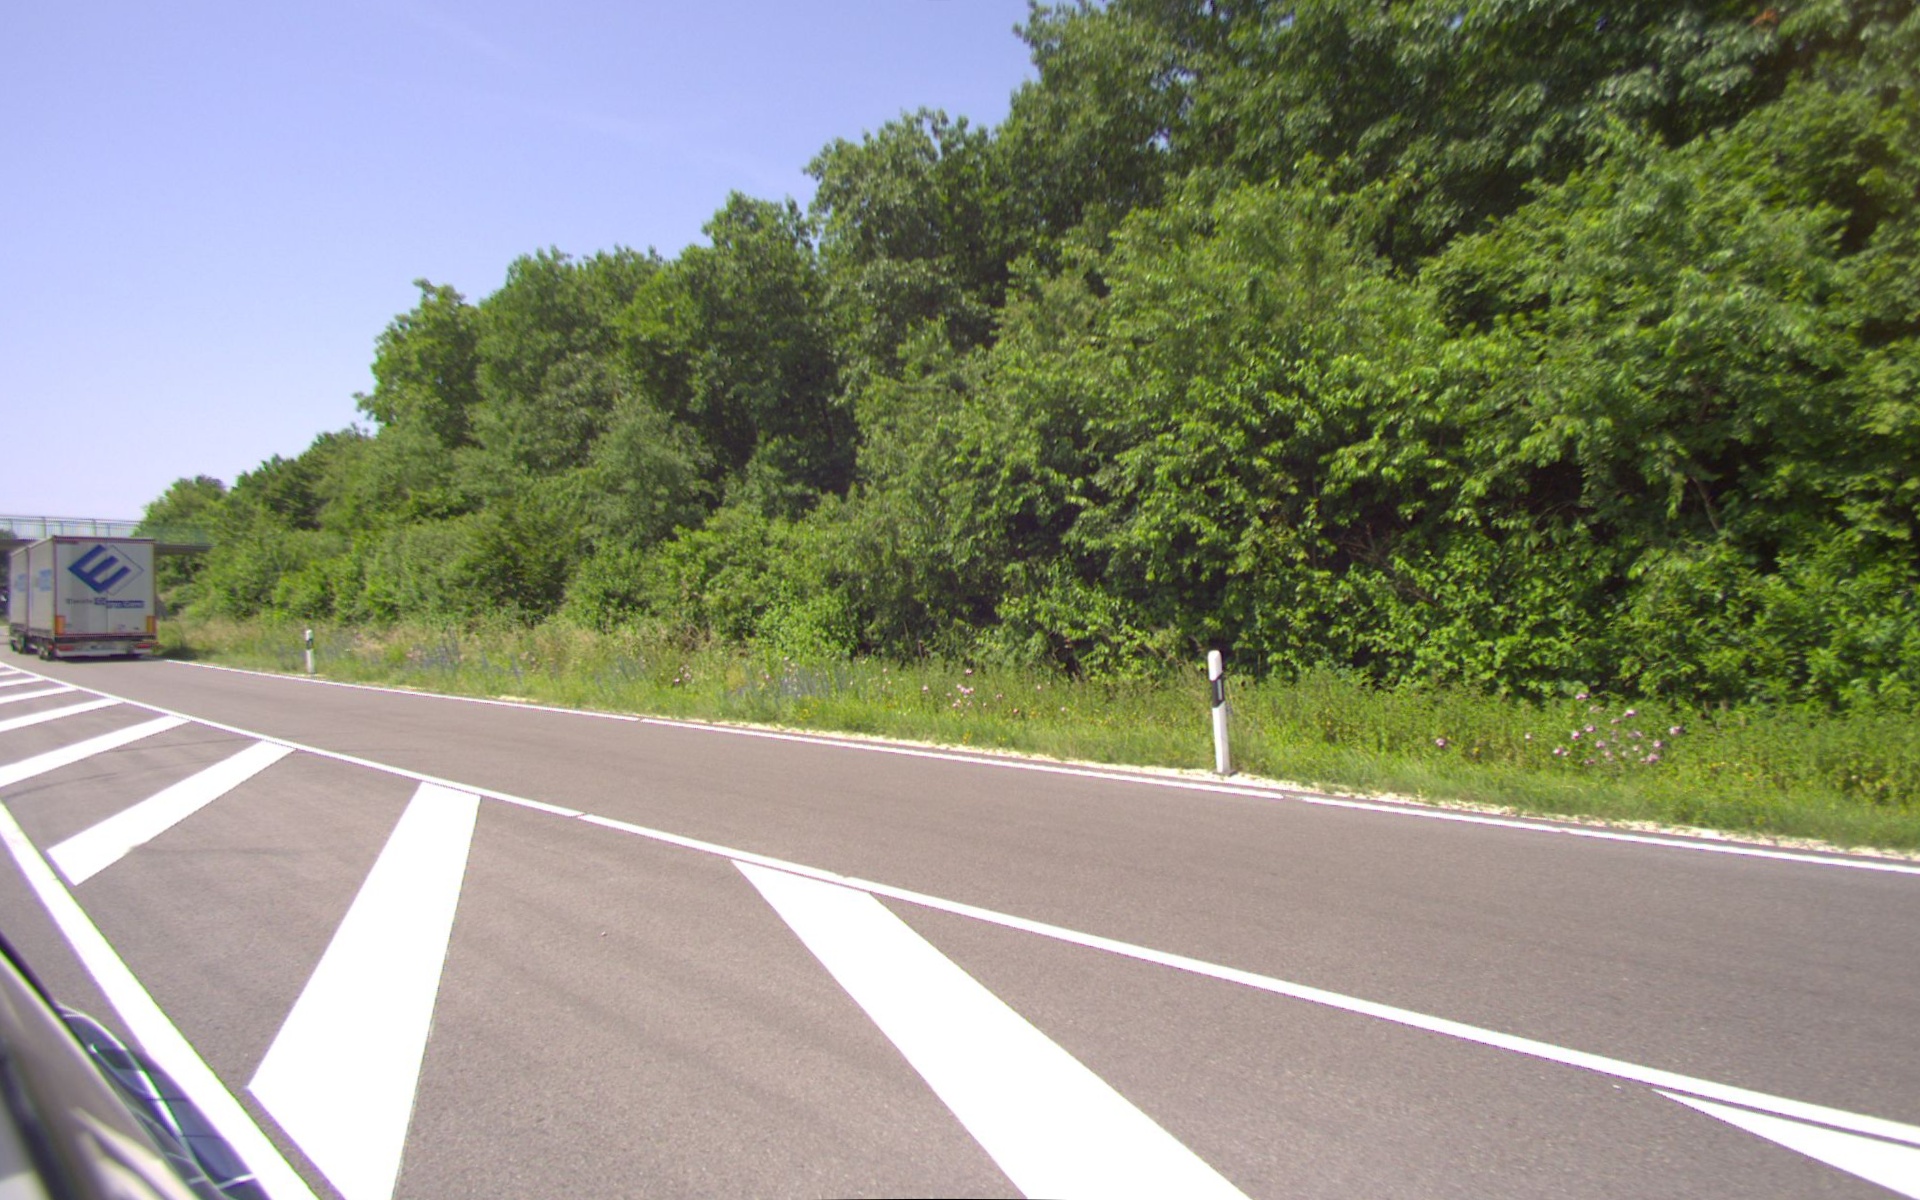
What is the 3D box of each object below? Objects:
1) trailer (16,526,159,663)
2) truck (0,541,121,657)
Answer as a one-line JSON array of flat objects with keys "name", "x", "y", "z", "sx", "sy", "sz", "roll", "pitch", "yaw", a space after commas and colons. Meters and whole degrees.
[{"name": "trailer", "x": -29.982, "y": -0.130, "z": 34.605, "sx": 9.002, "sy": 4.126, "sz": 2.797, "roll": -1, "pitch": 0, "yaw": 43}, {"name": "truck", "x": -36.616, "y": 0.021, "z": 40.903, "sx": 11.063, "sy": 4.126, "sz": 2.768, "roll": -1, "pitch": 0, "yaw": 43}]
